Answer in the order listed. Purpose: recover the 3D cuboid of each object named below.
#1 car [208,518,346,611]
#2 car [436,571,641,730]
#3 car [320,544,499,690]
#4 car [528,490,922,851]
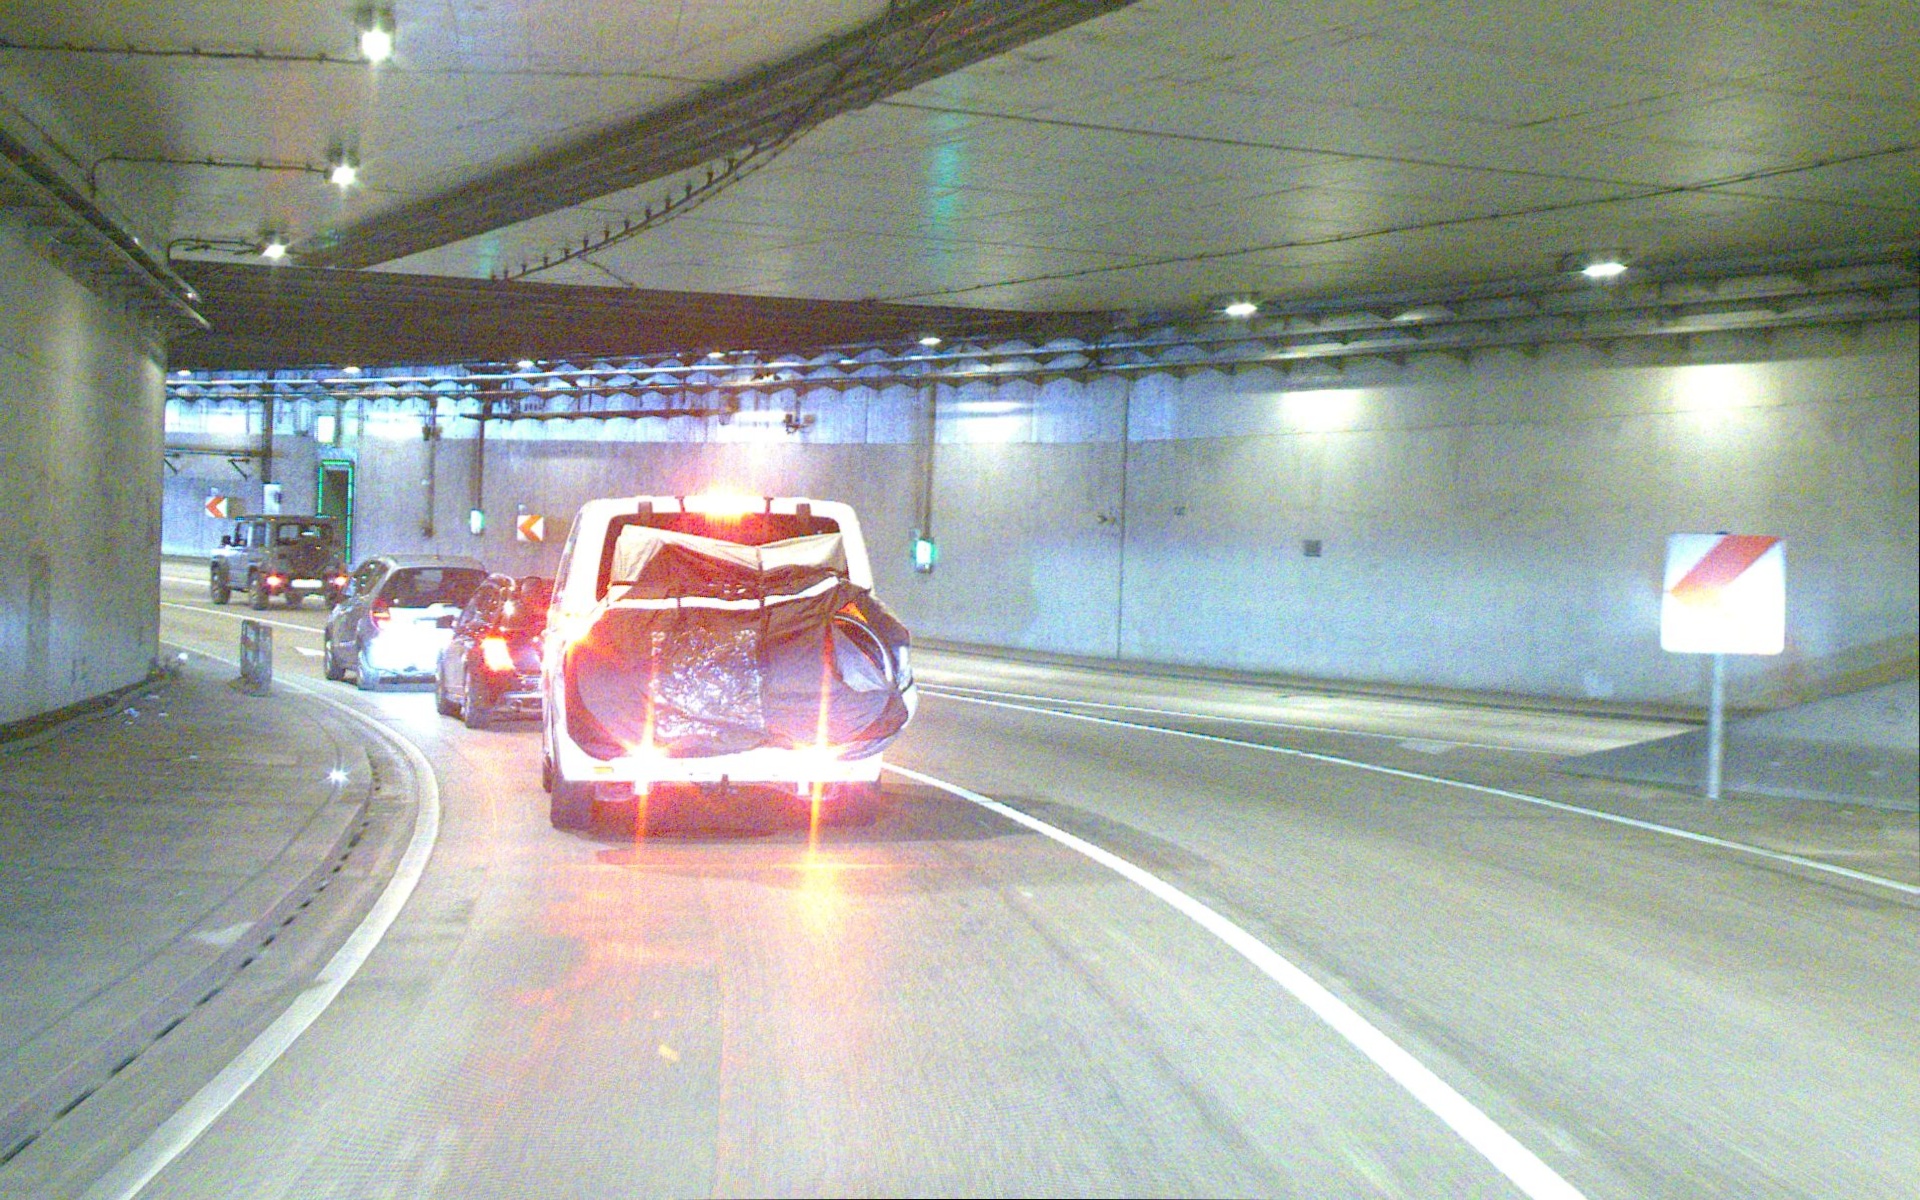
[{"bbox_3d":[-12.372,-0.657,62.143,1.602,1.624,3.356,-1,1,-26],"label":"car"},{"bbox_3d":[-4.010,0.445,32.363,1.602,1.390,3.278,1,1,-12],"label":"car"},{"bbox_3d":[-6.538,0.196,40.603,1.602,1.588,3.356,3,-1,-17],"label":"car"},{"bbox_3d":[-1.536,0.336,20.355,1.993,1.841,5.302,0,0,-7],"label":"car"}]
